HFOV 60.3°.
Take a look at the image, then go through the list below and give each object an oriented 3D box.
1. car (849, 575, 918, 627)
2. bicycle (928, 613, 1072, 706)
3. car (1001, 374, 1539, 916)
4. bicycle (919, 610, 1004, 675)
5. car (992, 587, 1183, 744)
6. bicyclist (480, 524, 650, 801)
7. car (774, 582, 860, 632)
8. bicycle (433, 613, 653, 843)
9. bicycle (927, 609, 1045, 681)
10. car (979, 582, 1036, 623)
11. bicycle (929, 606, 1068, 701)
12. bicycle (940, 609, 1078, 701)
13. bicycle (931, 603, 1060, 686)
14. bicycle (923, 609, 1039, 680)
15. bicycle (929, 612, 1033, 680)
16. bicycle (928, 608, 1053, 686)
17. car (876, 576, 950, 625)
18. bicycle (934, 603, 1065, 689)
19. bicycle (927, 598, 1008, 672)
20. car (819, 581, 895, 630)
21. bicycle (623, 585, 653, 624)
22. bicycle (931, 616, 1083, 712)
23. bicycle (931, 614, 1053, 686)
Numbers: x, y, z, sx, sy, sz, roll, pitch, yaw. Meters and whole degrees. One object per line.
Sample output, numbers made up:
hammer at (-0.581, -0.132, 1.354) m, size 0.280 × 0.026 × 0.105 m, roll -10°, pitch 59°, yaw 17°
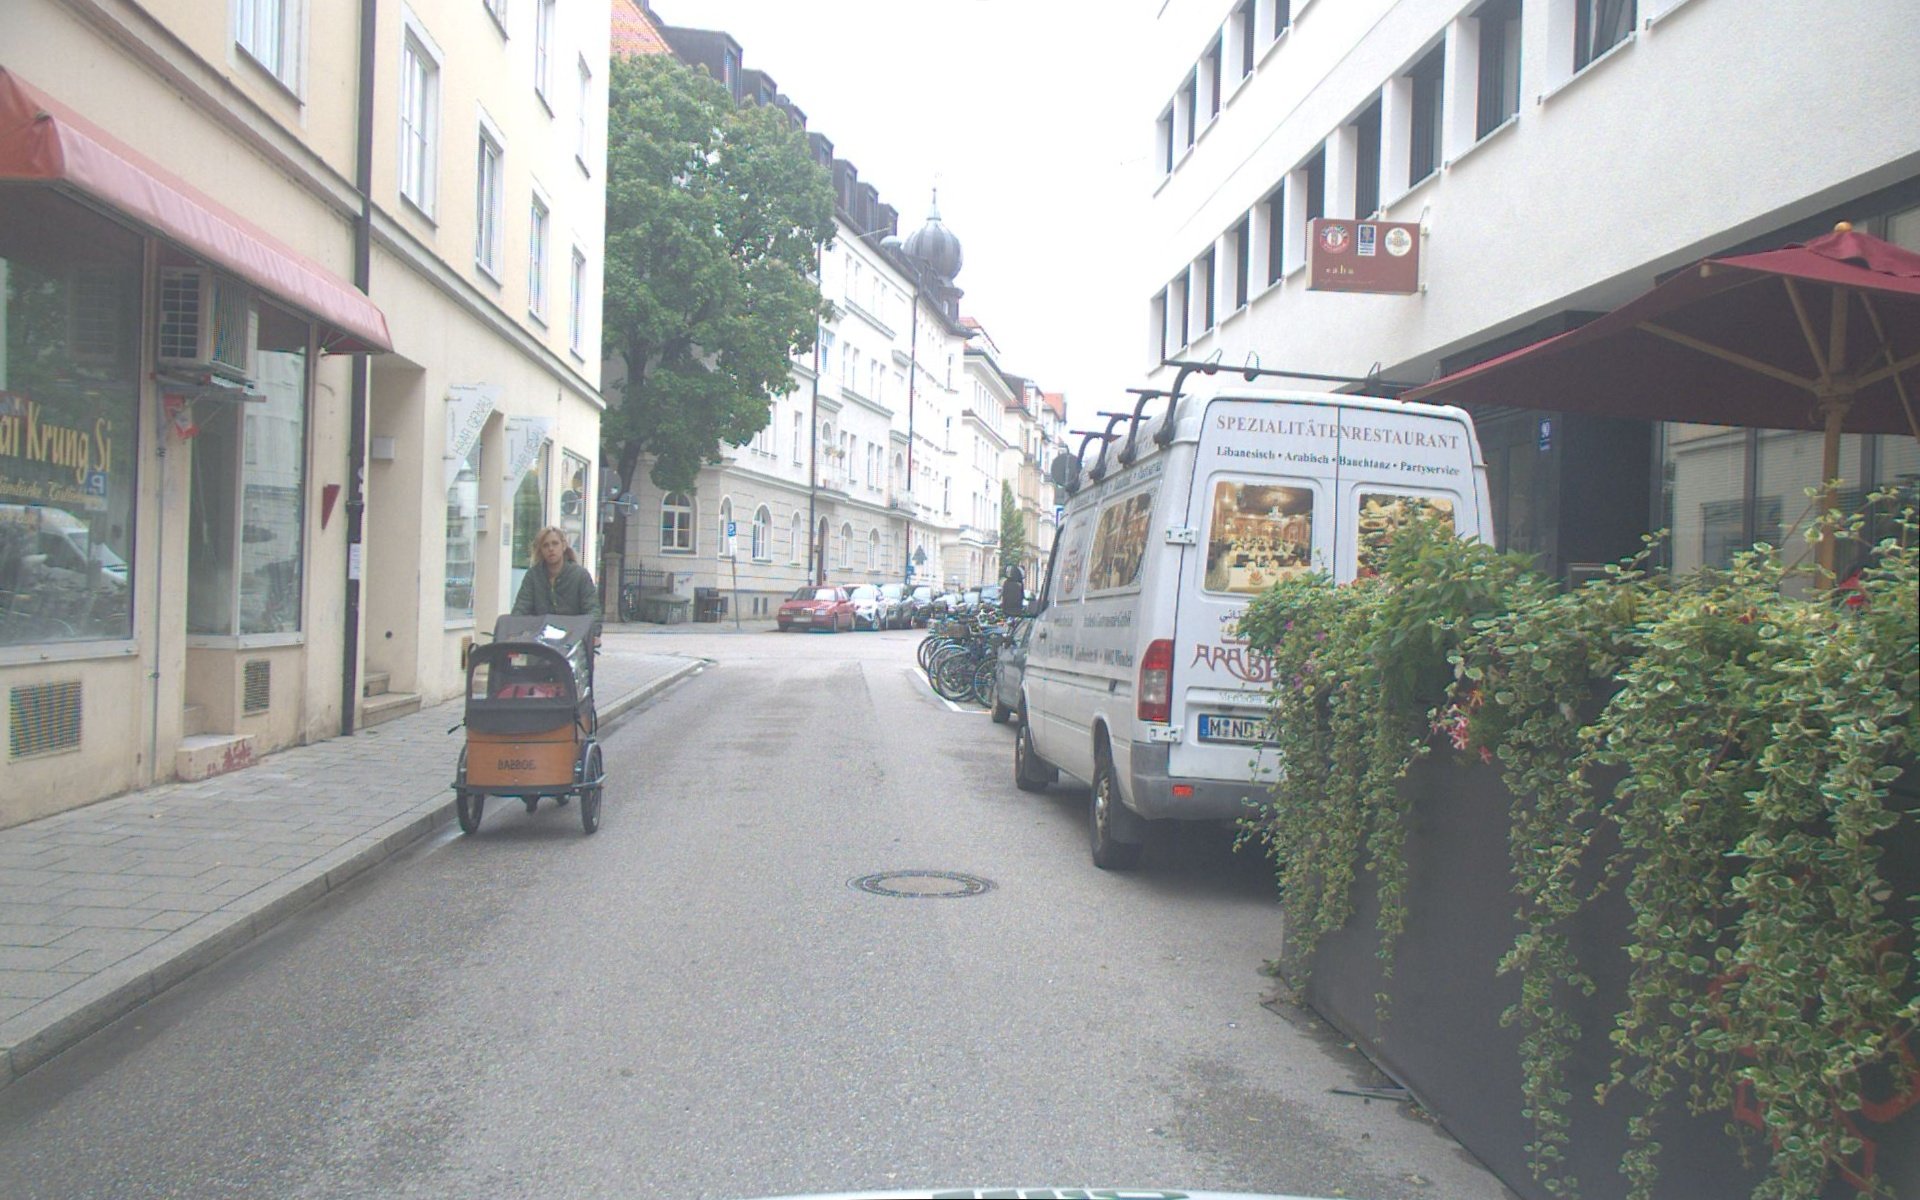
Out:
car at (-2.760, 0.026, 60.392) m, size 1.902 × 1.732 × 4.003 m, roll 2°, pitch 0°, yaw 6°
bicycle at (0.528, 0.793, 22.259) m, size 1.838 × 1.127 × 0.488 m, roll 3°, pitch 1°, yaw -7°
car at (1.596, 0.198, 11.032) m, size 1.883 × 2.549 × 5.991 m, roll 3°, pitch 0°, yaw -5°
bicycle at (0.026, 0.760, 29.656) m, size 1.425 × 1.088 × 0.462 m, roll 2°, pitch 0°, yaw -12°
car at (1.283, 0.630, 17.923) m, size 1.549 × 1.489 × 3.549 m, roll 2°, pitch 0°, yaw -4°
bicyclist at (-2.604, 0.395, 11.023) m, size 0.908 × 1.751 × 1.099 m, roll 0°, pitch 0°, yaw -4°
car at (-4.286, 0.198, 50.219) m, size 1.694 × 1.402 × 4.230 m, roll 2°, pitch 0°, yaw 8°
bicycle at (-2.573, 0.736, 10.541) m, size 0.913 × 1.279 × 2.412 m, roll 1°, pitch 0°, yaw -4°
bicycle at (0.415, 0.727, 26.766) m, size 1.838 × 1.098 × 0.402 m, roll 2°, pitch 1°, yaw -8°
car at (2.084, 0.095, 71.360) m, size 1.915 × 1.635 × 4.312 m, roll 1°, pitch 0°, yaw 8°
bicycle at (0.520, 0.734, 22.779) m, size 1.838 × 1.225 × 0.488 m, roll 2°, pitch 1°, yaw -7°
bicycle at (0.688, 0.775, 23.477) m, size 1.838 × 1.177 × 0.564 m, roll 3°, pitch 1°, yaw -7°
bicycle at (0.528, 0.665, 24.820) m, size 1.857 × 1.190 × 0.565 m, roll 1°, pitch 0°, yaw -7°
bicycle at (0.347, 0.733, 27.201) m, size 1.838 × 1.098 × 0.408 m, roll 2°, pitch 1°, yaw -8°
bicycle at (0.360, 0.790, 28.444) m, size 1.707 × 1.098 × 0.451 m, roll 2°, pitch 1°, yaw -8°
bicycle at (0.459, 0.721, 25.366) m, size 1.838 × 1.114 × 0.439 m, roll 2°, pitch 1°, yaw -8°
car at (-1.790, 0.009, 65.012) m, size 1.951 × 1.768 × 4.525 m, roll 2°, pitch 0°, yaw 10°
bicycle at (0.572, 0.665, 24.201) m, size 1.838 × 1.225 × 0.579 m, roll 1°, pitch 0°, yaw -7°
bicycle at (0.139, 0.642, 30.675) m, size 1.428 × 1.307 × 0.445 m, roll 2°, pitch 0°, yaw -3°
car at (-3.399, 0.177, 55.188) m, size 1.952 × 1.499 × 4.221 m, roll 2°, pitch 0°, yaw 4°
bicycle at (-9.486, 0.127, 48.748) m, size 0.483 × 1.070 × 1.827 m, roll 2°, pitch 2°, yaw 1°
bicycle at (0.599, 0.820, 21.314) m, size 1.838 × 1.098 × 0.488 m, roll 4°, pitch 1°, yaw -7°
bicycle at (0.502, 0.790, 26.074) m, size 1.838 × 1.070 × 0.563 m, roll 2°, pitch -1°, yaw -8°
